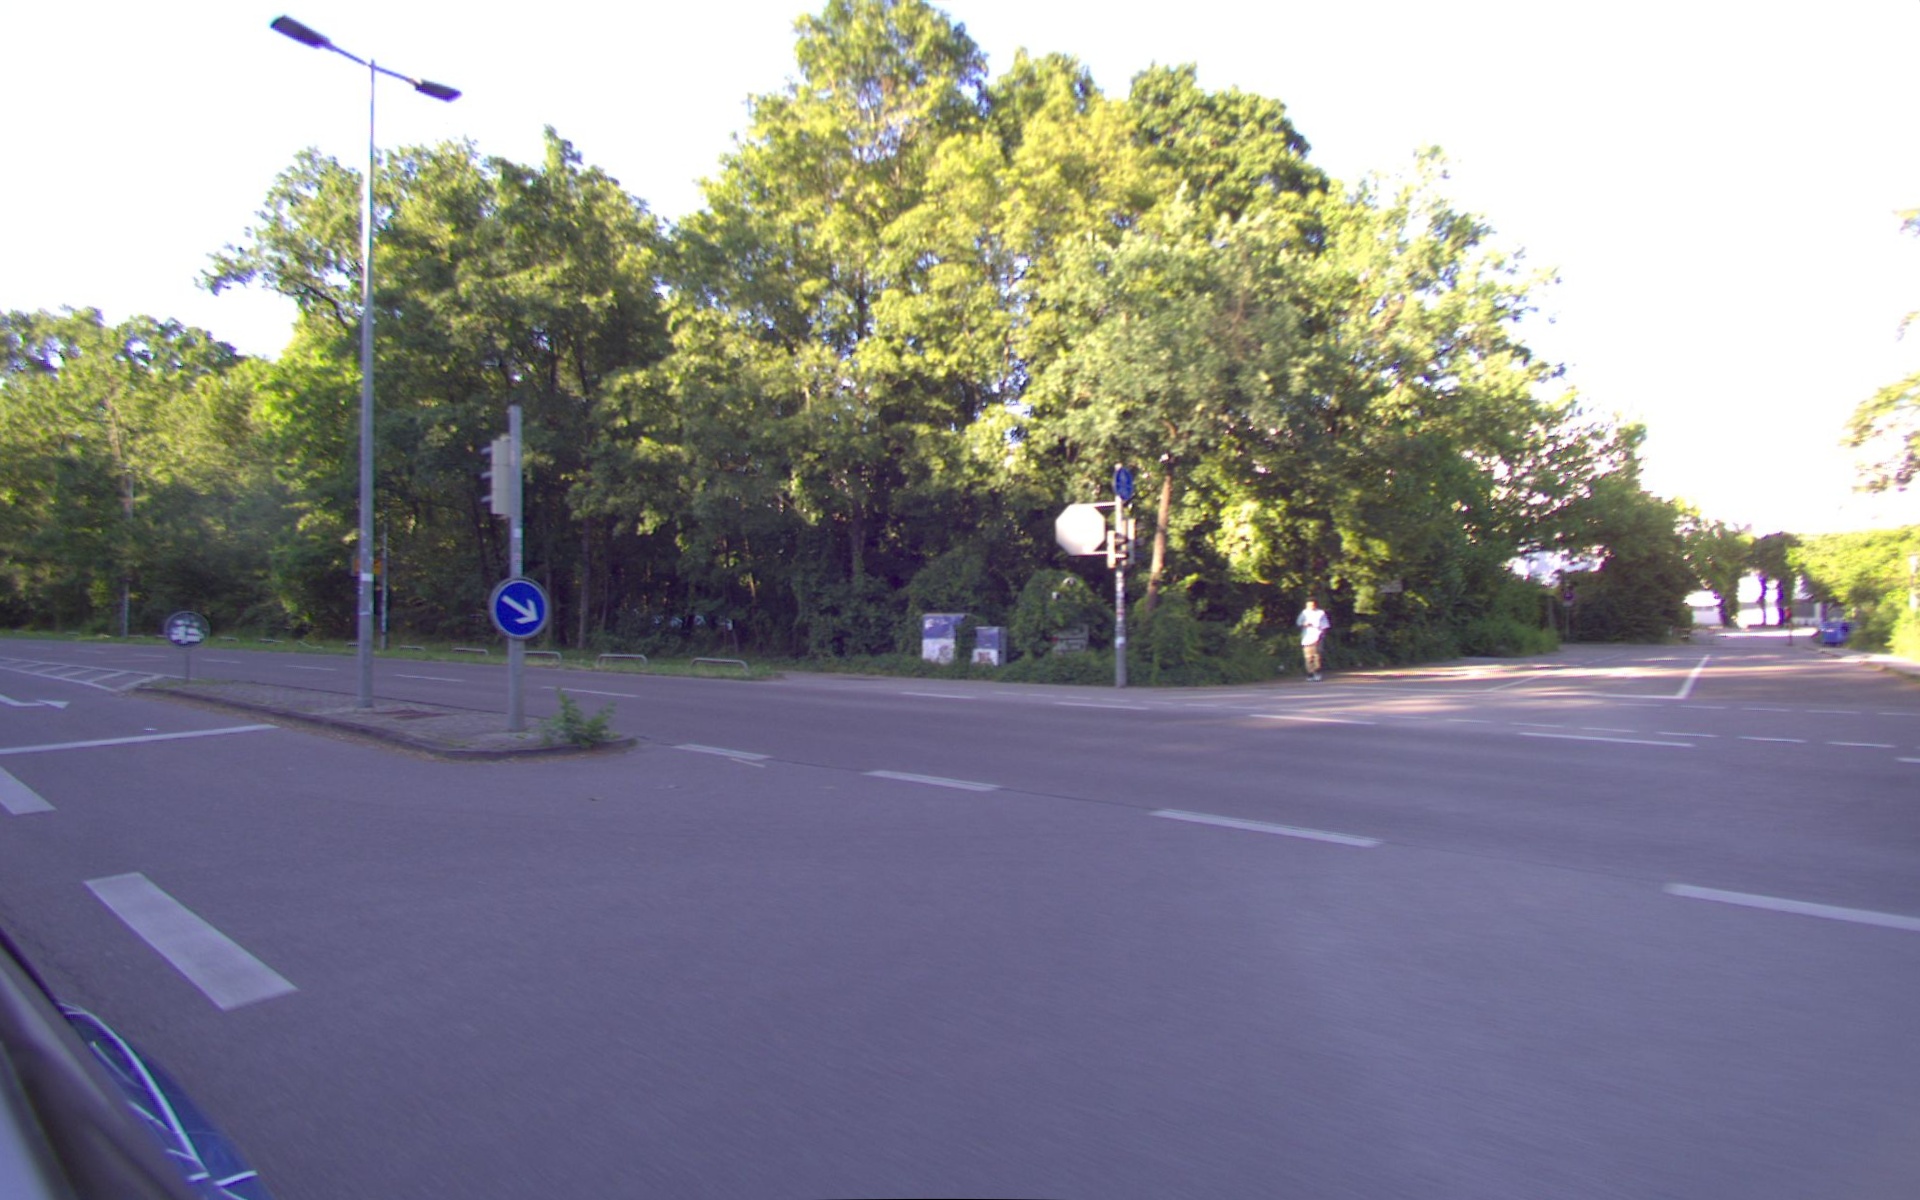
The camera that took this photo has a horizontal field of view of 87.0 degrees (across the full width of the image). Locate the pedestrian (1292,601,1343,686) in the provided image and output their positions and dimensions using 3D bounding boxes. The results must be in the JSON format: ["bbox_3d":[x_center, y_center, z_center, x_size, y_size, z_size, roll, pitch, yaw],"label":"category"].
[{"bbox_3d":[7.396,0.888,20.935,0.819,1.724,0.641,-1,-1,40],"label":"pedestrian"}]
